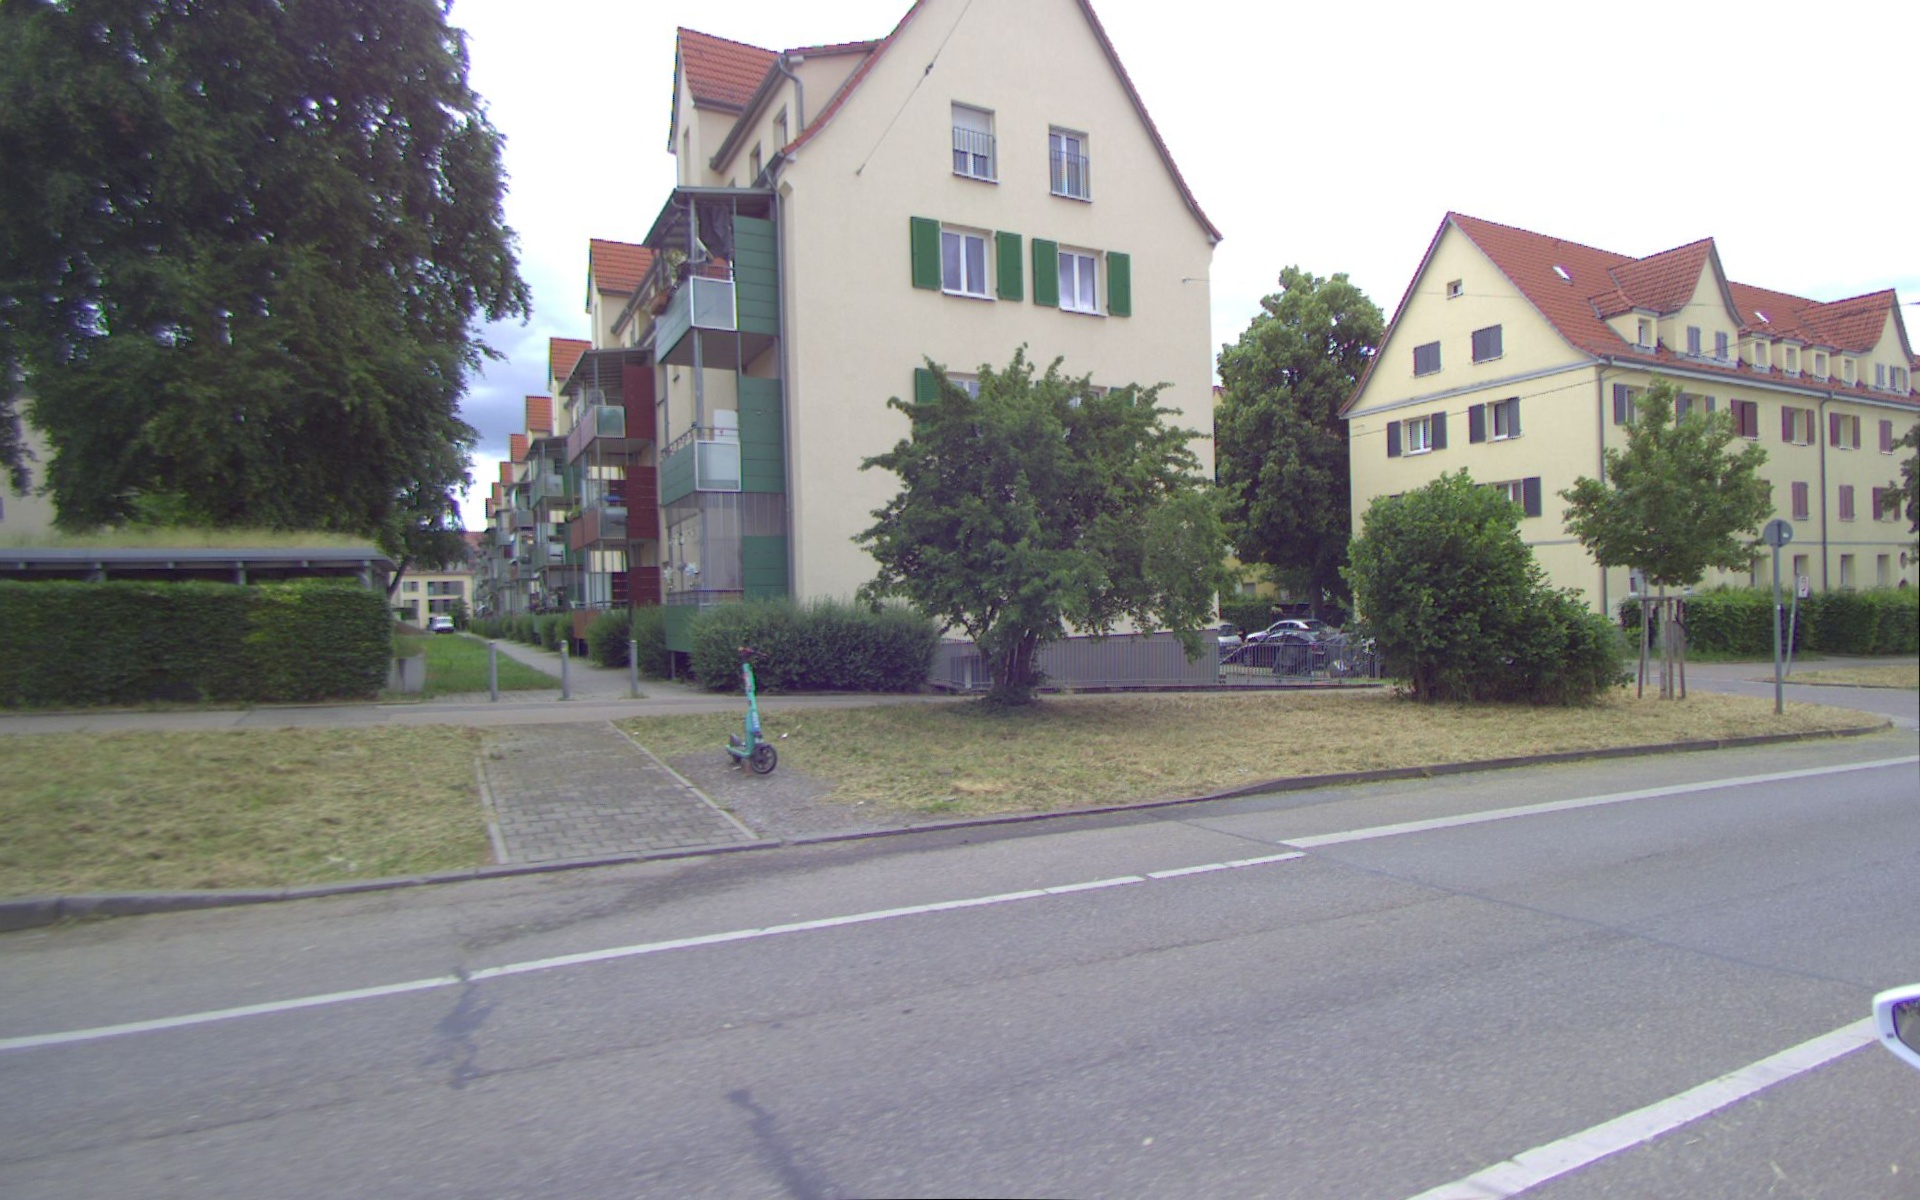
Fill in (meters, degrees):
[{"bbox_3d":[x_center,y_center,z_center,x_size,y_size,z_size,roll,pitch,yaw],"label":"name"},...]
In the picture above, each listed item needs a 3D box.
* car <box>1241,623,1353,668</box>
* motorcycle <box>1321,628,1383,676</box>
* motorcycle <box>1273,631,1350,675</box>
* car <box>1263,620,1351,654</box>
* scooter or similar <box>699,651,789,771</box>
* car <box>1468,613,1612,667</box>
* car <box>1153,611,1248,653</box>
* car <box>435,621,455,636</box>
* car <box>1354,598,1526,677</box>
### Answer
[{"bbox_3d":[12.159,1.595,36.423,1.721,1.486,3.806,0,0,-25],"label":"car"},{"bbox_3d":[11.529,1.508,29.651,0.996,1.296,2.607,0,0,5],"label":"motorcycle"},{"bbox_3d":[11.035,1.631,31.499,2.582,1.296,1.006,1,0,-37],"label":"motorcycle"},{"bbox_3d":[14.837,1.545,43.081,1.523,1.255,3.401,-3,1,-28],"label":"car"},{"bbox_3d":[-2.213,1.083,10.184,0.461,1.100,1.362,0,-1,-32],"label":"scooter or similar"},{"bbox_3d":[19.362,1.291,33.711,1.670,1.550,3.888,-3,1,-28],"label":"car"},{"bbox_3d":[9.841,1.278,41.351,1.723,1.587,3.803,0,0,-27],"label":"car"},{"bbox_3d":[-65.170,3.590,127.131,1.978,1.907,3.966,1,-1,-32],"label":"car"},{"bbox_3d":[14.934,1.130,31.549,1.969,2.283,4.701,1,-1,-27],"label":"car"}]
